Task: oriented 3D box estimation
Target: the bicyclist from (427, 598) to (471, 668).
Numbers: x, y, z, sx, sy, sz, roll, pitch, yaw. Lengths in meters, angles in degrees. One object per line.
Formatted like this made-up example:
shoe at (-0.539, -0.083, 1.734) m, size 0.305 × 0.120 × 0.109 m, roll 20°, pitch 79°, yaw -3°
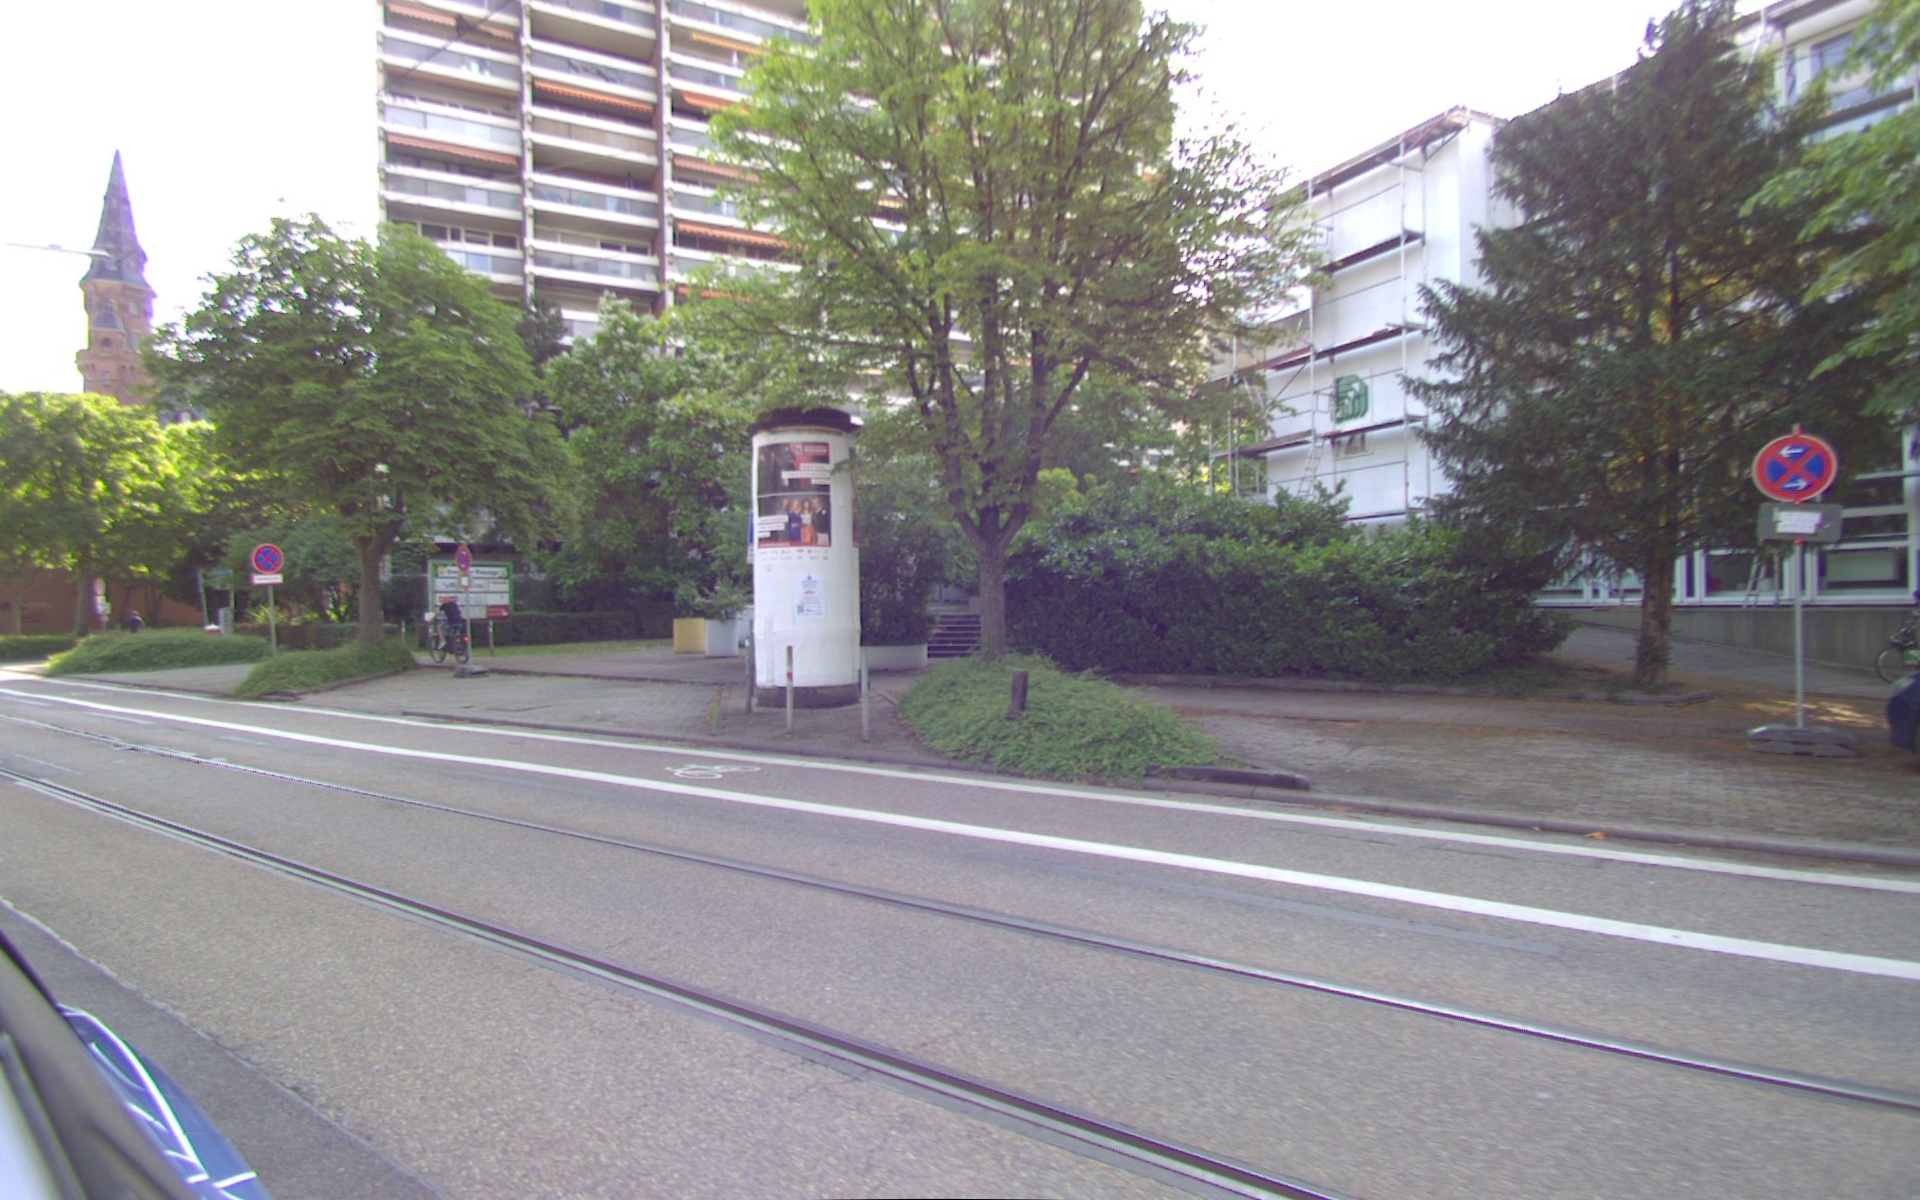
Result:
bicyclist at (-13.071, 0.838, 25.871) m, size 0.780 × 1.753 × 0.717 m, roll -1°, pitch -1°, yaw 36°

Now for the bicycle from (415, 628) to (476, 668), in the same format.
bicycle at (-13.238, 1.225, 26.016) m, size 1.979 × 0.988 × 0.562 m, roll -1°, pitch -1°, yaw 36°

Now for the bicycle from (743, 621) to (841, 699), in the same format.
bicycle at (-2.656, 0.934, 15.971) m, size 1.483 × 1.163 × 0.634 m, roll -1°, pitch -1°, yaw -11°

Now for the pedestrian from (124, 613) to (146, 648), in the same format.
pedestrian at (-39.798, 1.472, 48.805) m, size 0.738 × 1.642 × 0.754 m, roll -1°, pitch -1°, yaw 45°

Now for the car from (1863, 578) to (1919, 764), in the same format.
car at (8.675, 0.539, 6.573) m, size 1.732 × 1.473 × 4.006 m, roll -1°, pitch 0°, yaw -7°

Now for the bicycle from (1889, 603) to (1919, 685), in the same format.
bicycle at (13.706, 0.579, 13.992) m, size 2.020 × 1.095 × 0.498 m, roll -1°, pitch -1°, yaw -25°
